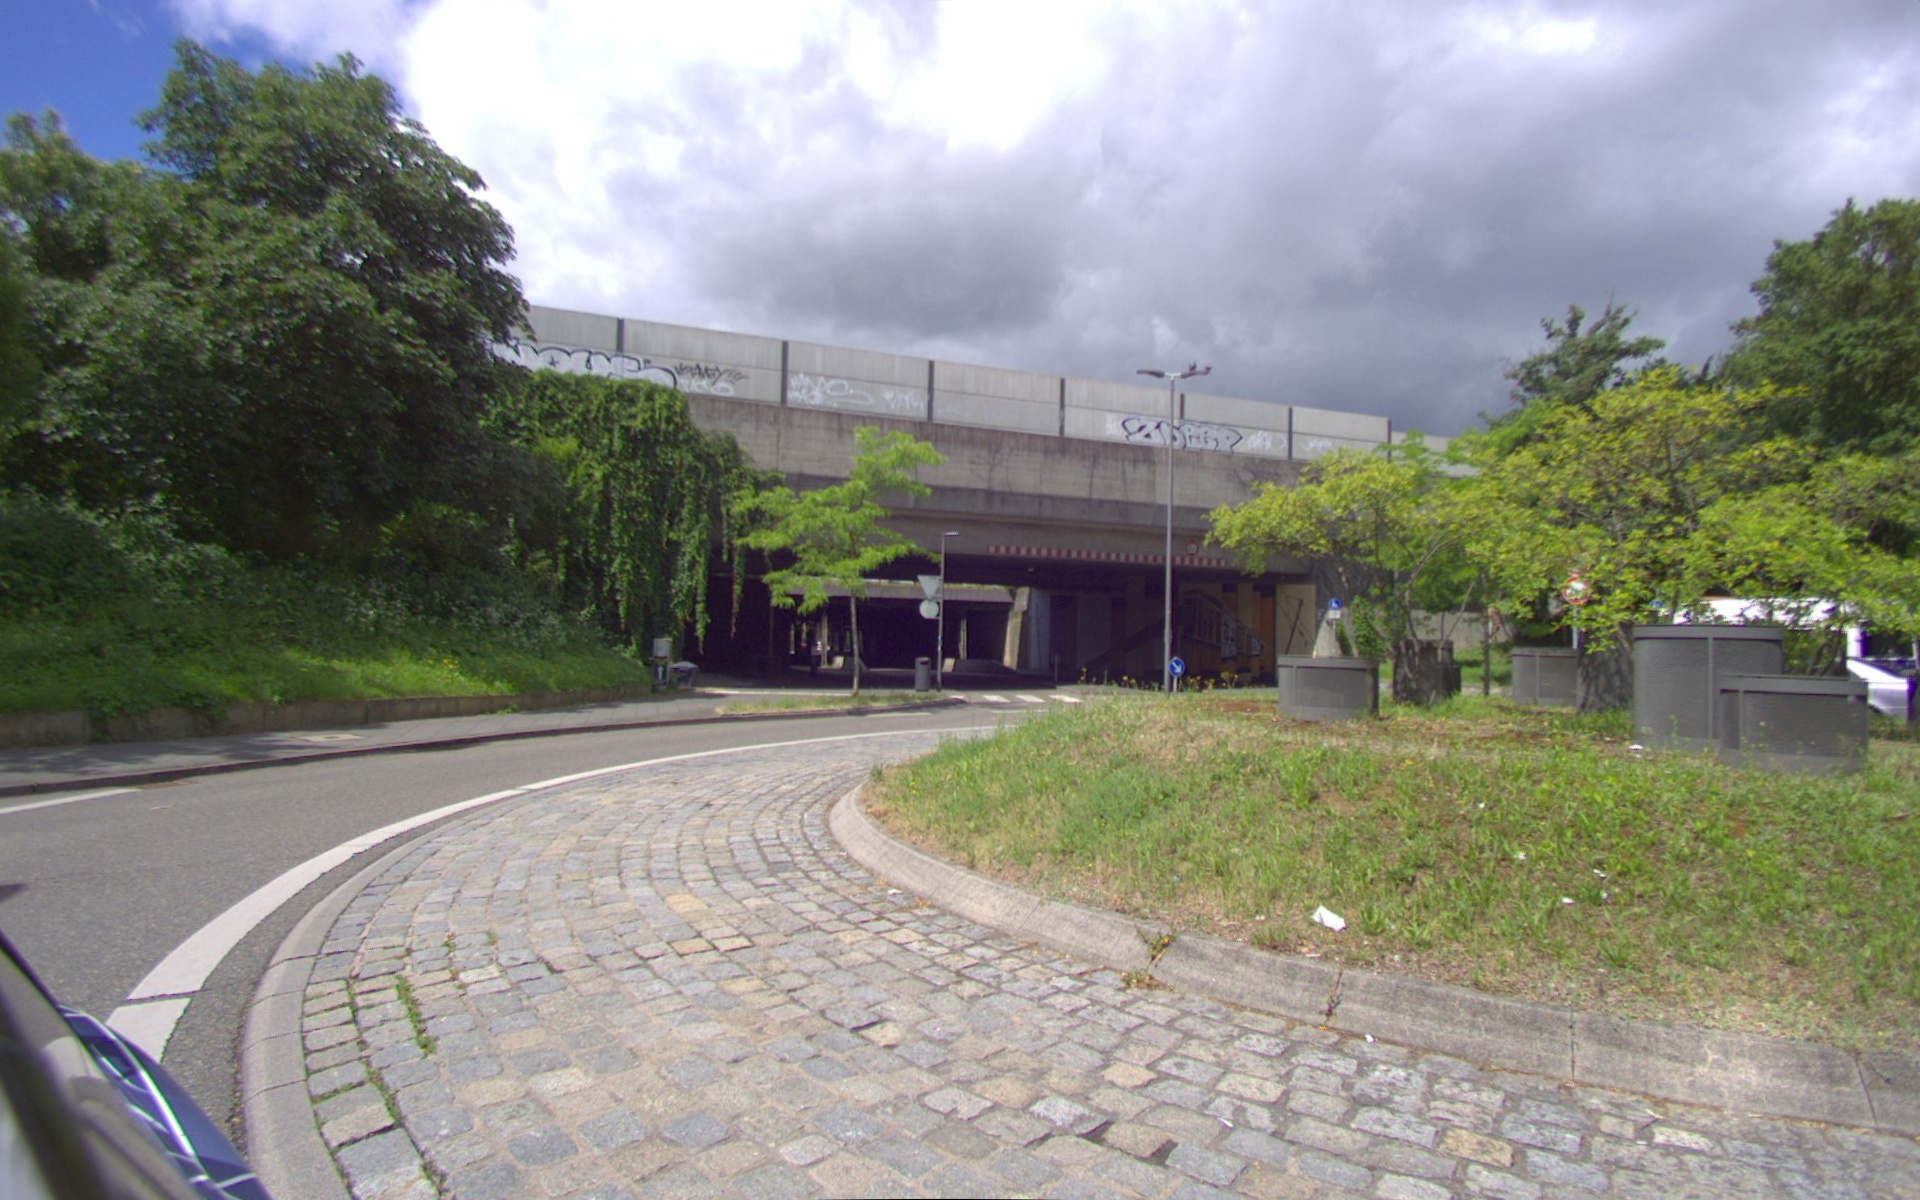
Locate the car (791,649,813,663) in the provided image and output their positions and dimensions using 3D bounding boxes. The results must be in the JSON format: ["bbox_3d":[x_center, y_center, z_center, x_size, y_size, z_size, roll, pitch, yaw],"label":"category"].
[{"bbox_3d":[-17.782,6.284,113.892,1.648,1.458,3.864,3,-4,-19],"label":"car"}]

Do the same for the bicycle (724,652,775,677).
[{"bbox_3d":[-8.310,2.541,39.973,1.918,0.911,0.508,3,-3,-19],"label":"bicycle"}]

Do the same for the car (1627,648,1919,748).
[{"bbox_3d":[13.072,1.440,15.864,1.686,1.364,4.011,2,-3,-32],"label":"car"}]

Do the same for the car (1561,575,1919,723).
[{"bbox_3d":[15.920,1.000,21.004,1.940,2.627,5.949,0,-3,-20],"label":"car"}]
